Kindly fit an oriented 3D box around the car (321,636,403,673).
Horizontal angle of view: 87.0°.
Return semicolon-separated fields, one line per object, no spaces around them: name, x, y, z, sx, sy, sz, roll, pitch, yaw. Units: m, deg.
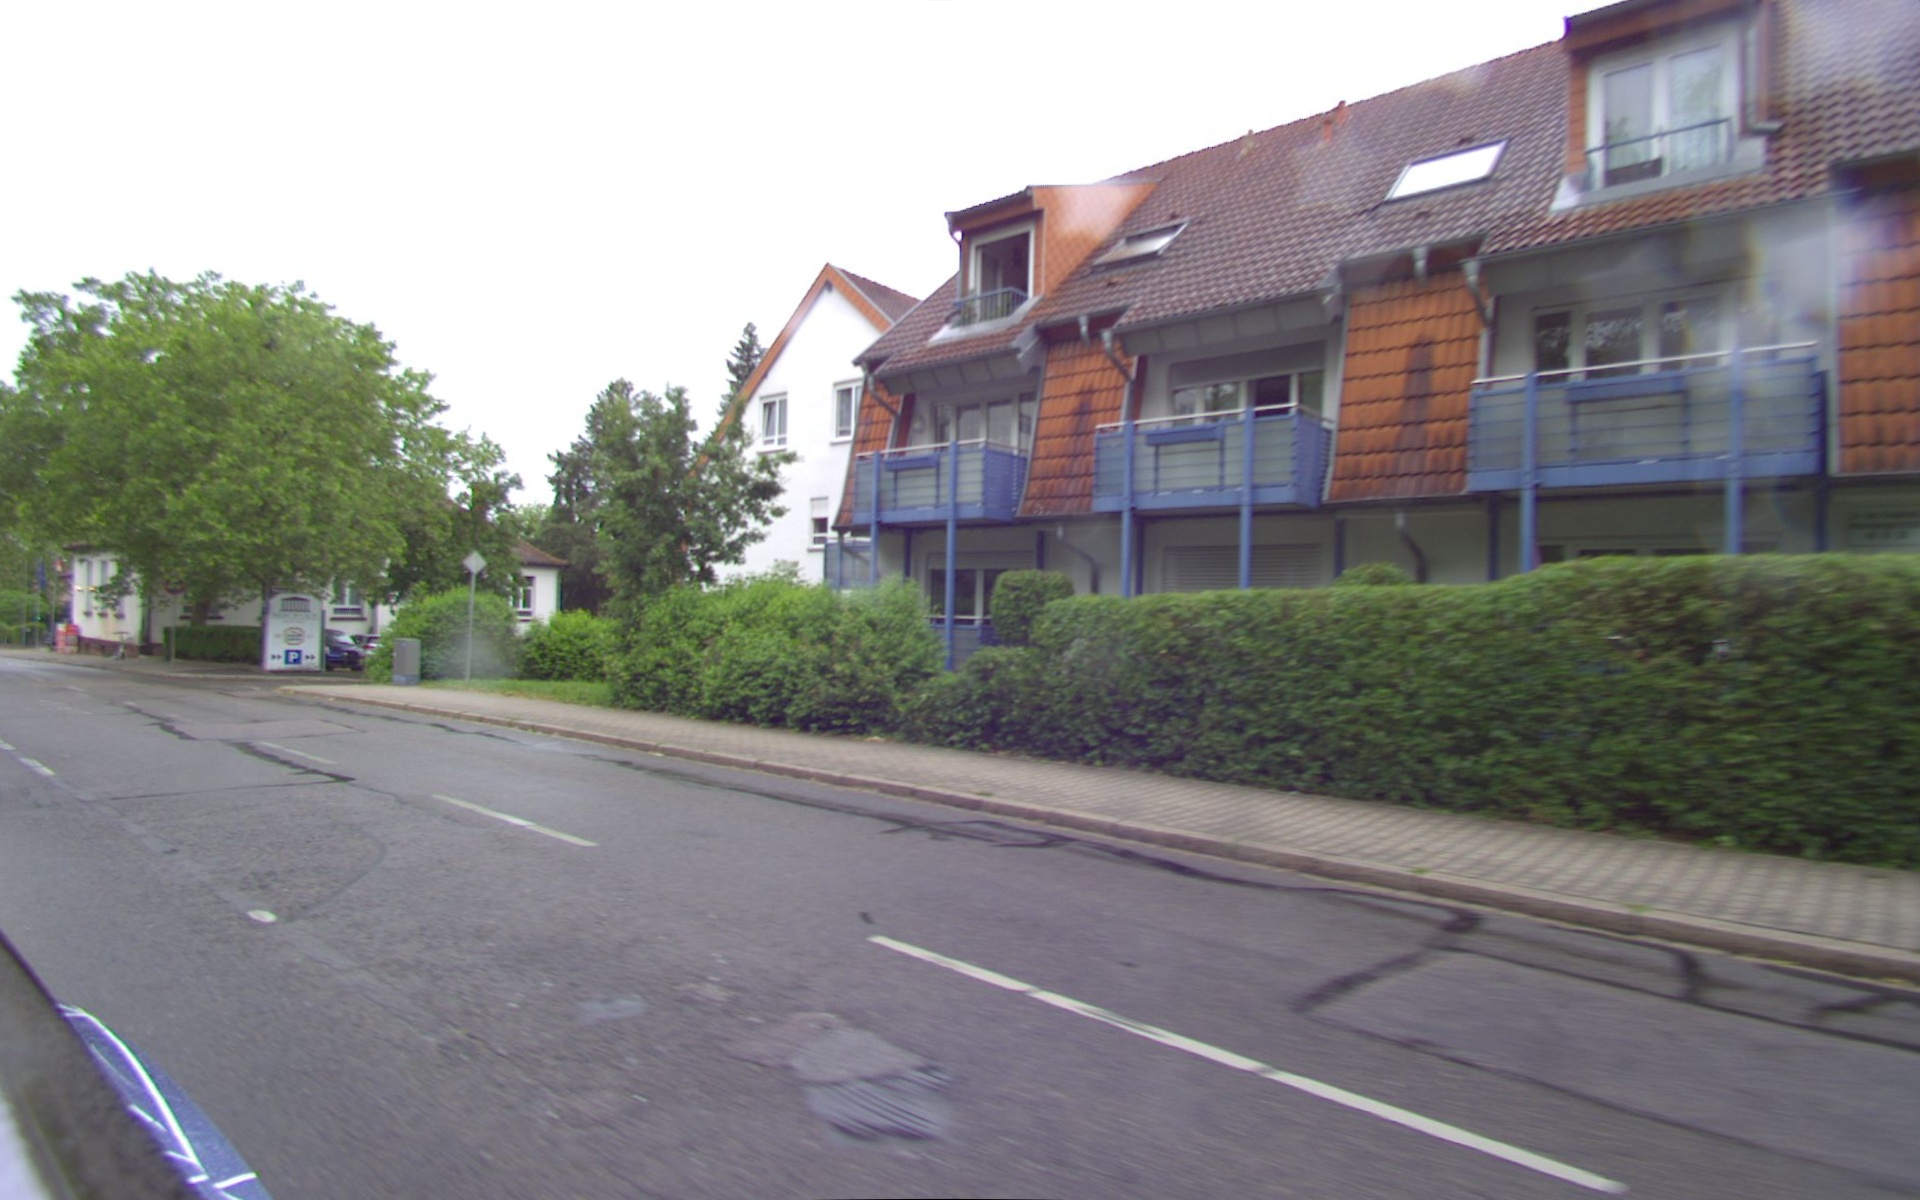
car;-27.610;2.509;46.692;4.279;1.452;1.734;0;-6;38

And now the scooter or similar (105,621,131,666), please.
scooter or similar;-34.738;1.777;41.757;1.509;1.788;0.397;0;-2;35
